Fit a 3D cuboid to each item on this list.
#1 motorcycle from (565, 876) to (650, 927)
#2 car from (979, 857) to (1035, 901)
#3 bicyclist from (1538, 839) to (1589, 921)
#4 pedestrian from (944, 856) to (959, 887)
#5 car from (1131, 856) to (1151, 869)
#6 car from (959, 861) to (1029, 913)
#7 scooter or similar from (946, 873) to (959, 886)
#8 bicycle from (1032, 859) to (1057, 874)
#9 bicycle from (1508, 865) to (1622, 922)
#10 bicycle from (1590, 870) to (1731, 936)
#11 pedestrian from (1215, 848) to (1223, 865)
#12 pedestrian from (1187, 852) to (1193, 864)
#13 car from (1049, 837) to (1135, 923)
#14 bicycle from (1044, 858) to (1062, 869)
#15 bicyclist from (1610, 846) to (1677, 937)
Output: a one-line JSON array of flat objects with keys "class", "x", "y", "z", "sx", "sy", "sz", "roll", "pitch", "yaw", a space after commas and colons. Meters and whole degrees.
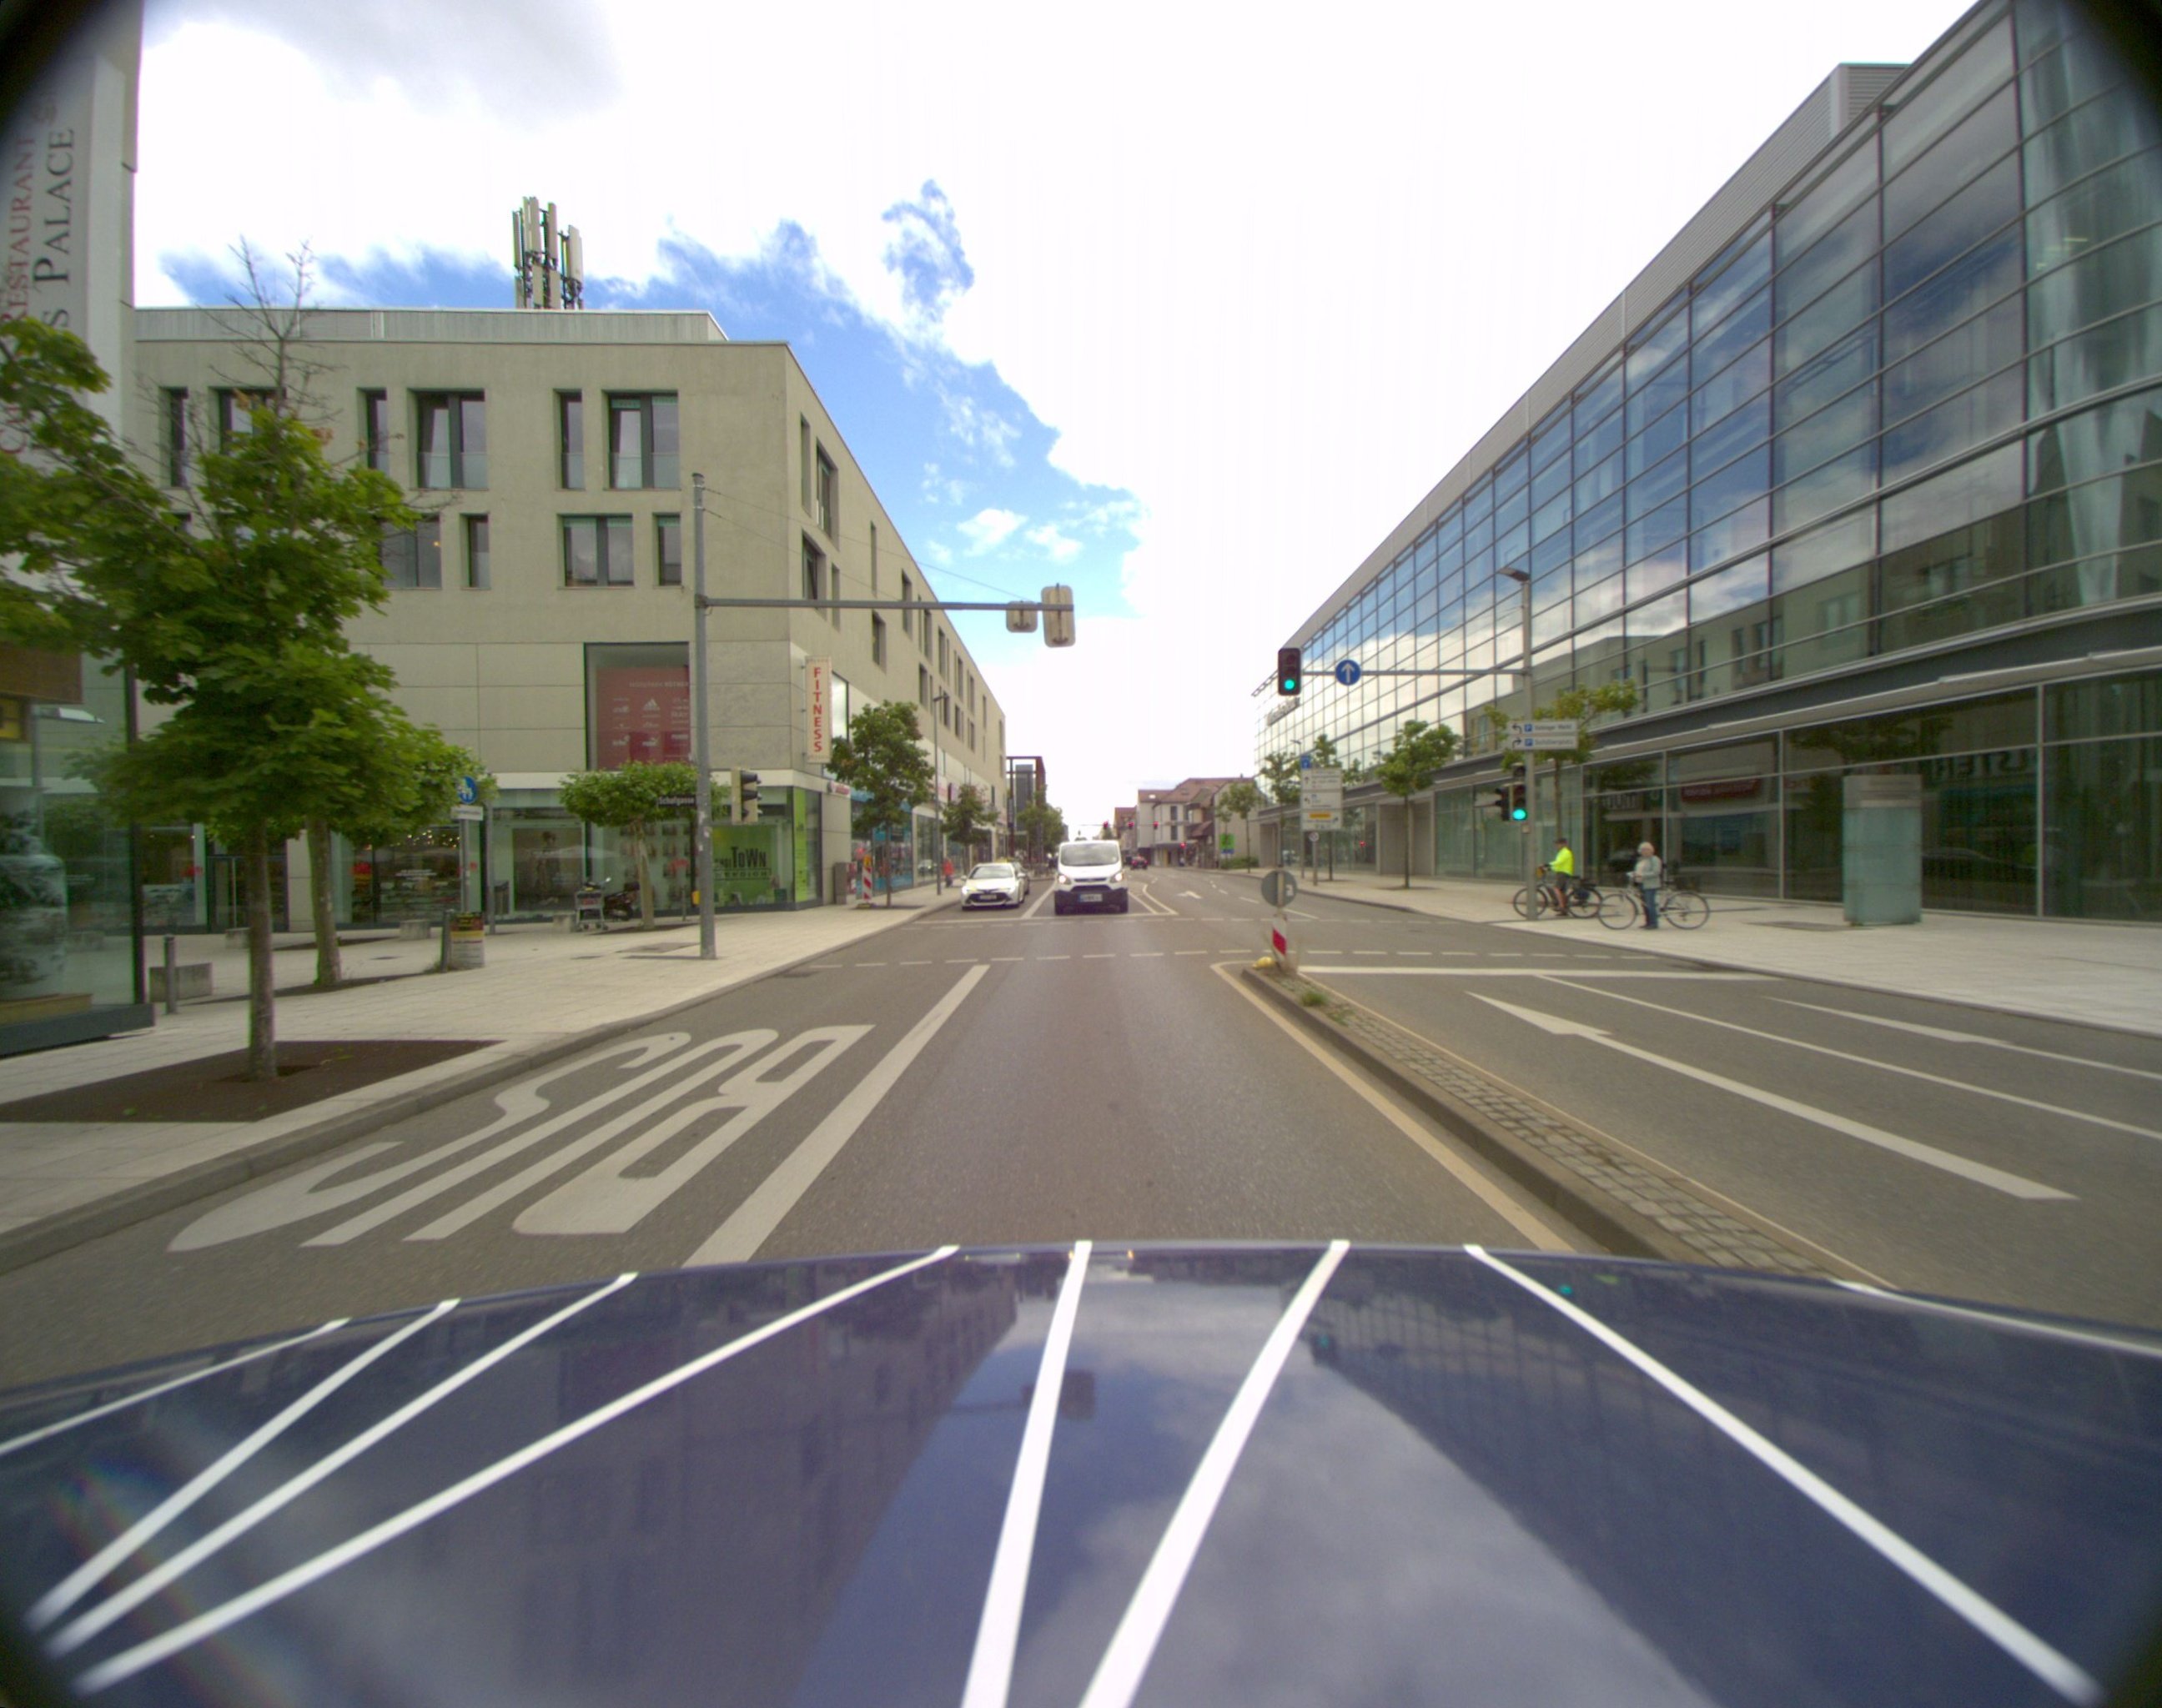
[{"class": "motorcycle", "x": -13.067, "y": 1.294, "z": 20.996, "sx": 1.844, "sy": 1.251, "sz": 0.593, "roll": -3, "pitch": 3, "yaw": -2}, {"class": "car", "x": -2.967, "y": 0.951, "z": 31.361, "sx": 1.741, "sy": 1.533, "sz": 4.790, "roll": -3, "pitch": 1, "yaw": 0}, {"class": "bicyclist", "x": 10.969, "y": 0.577, "z": 17.285, "sx": 0.772, "sy": 1.790, "sz": 0.749, "roll": -3, "pitch": 1, "yaw": 45}, {"class": "pedestrian", "x": -6.479, "y": 0.867, "z": 38.051, "sx": 0.590, "sy": 1.558, "sz": 0.732, "roll": 0, "pitch": 1, "yaw": 0}, {"class": "car", "x": 6.942, "y": 0.993, "z": 88.227, "sx": 1.803, "sy": 1.458, "sz": 3.998, "roll": -1, "pitch": 0, "yaw": -3}, {"class": "car", "x": -2.750, "y": 1.011, "z": 24.912, "sx": 1.787, "sy": 1.417, "sz": 4.514, "roll": -2, "pitch": 1, "yaw": -1}, {"class": "scooter or similar", "x": -6.554, "y": 1.301, "z": 38.805, "sx": 0.552, "sy": 0.630, "sz": 0.767, "roll": 0, "pitch": 0, "yaw": 0}, {"class": "bicycle", "x": -2.703, "y": 0.945, "z": 56.147, "sx": 1.745, "sy": 1.093, "sz": 0.561, "roll": 1, "pitch": 0, "yaw": -7}, {"class": "bicycle", "x": 10.992, "y": 0.894, "z": 17.294, "sx": 2.025, "sy": 1.199, "sz": 0.749, "roll": -3, "pitch": 1, "yaw": 45}, {"class": "bicycle", "x": 10.921, "y": 0.936, "z": 14.386, "sx": 2.003, "sy": 1.124, "sz": 0.639, "roll": -3, "pitch": 1, "yaw": 16}, {"class": "pedestrian", "x": 13.540, "y": 0.230, "z": 74.565, "sx": 0.702, "sy": 1.614, "sz": 0.693, "roll": -1, "pitch": 1, "yaw": 0}, {"class": "pedestrian", "x": 14.357, "y": 0.496, "z": 100.416, "sx": 0.555, "sy": 1.507, "sz": 0.582, "roll": -1, "pitch": 1, "yaw": -32}, {"class": "car", "x": 0.272, "y": 0.604, "z": 20.892, "sx": 2.000, "sy": 1.976, "sz": 5.000, "roll": -3, "pitch": 1, "yaw": 0}, {"class": "bicycle", "x": -2.820, "y": 0.953, "z": 76.249, "sx": 1.745, "sy": 1.015, "sz": 0.451, "roll": 0, "pitch": 1, "yaw": -6}, {"class": "bicyclist", "x": 10.678, "y": 0.702, "z": 14.441, "sx": 0.783, "sy": 1.639, "sz": 0.639, "roll": -3, "pitch": 1, "yaw": 16}]
